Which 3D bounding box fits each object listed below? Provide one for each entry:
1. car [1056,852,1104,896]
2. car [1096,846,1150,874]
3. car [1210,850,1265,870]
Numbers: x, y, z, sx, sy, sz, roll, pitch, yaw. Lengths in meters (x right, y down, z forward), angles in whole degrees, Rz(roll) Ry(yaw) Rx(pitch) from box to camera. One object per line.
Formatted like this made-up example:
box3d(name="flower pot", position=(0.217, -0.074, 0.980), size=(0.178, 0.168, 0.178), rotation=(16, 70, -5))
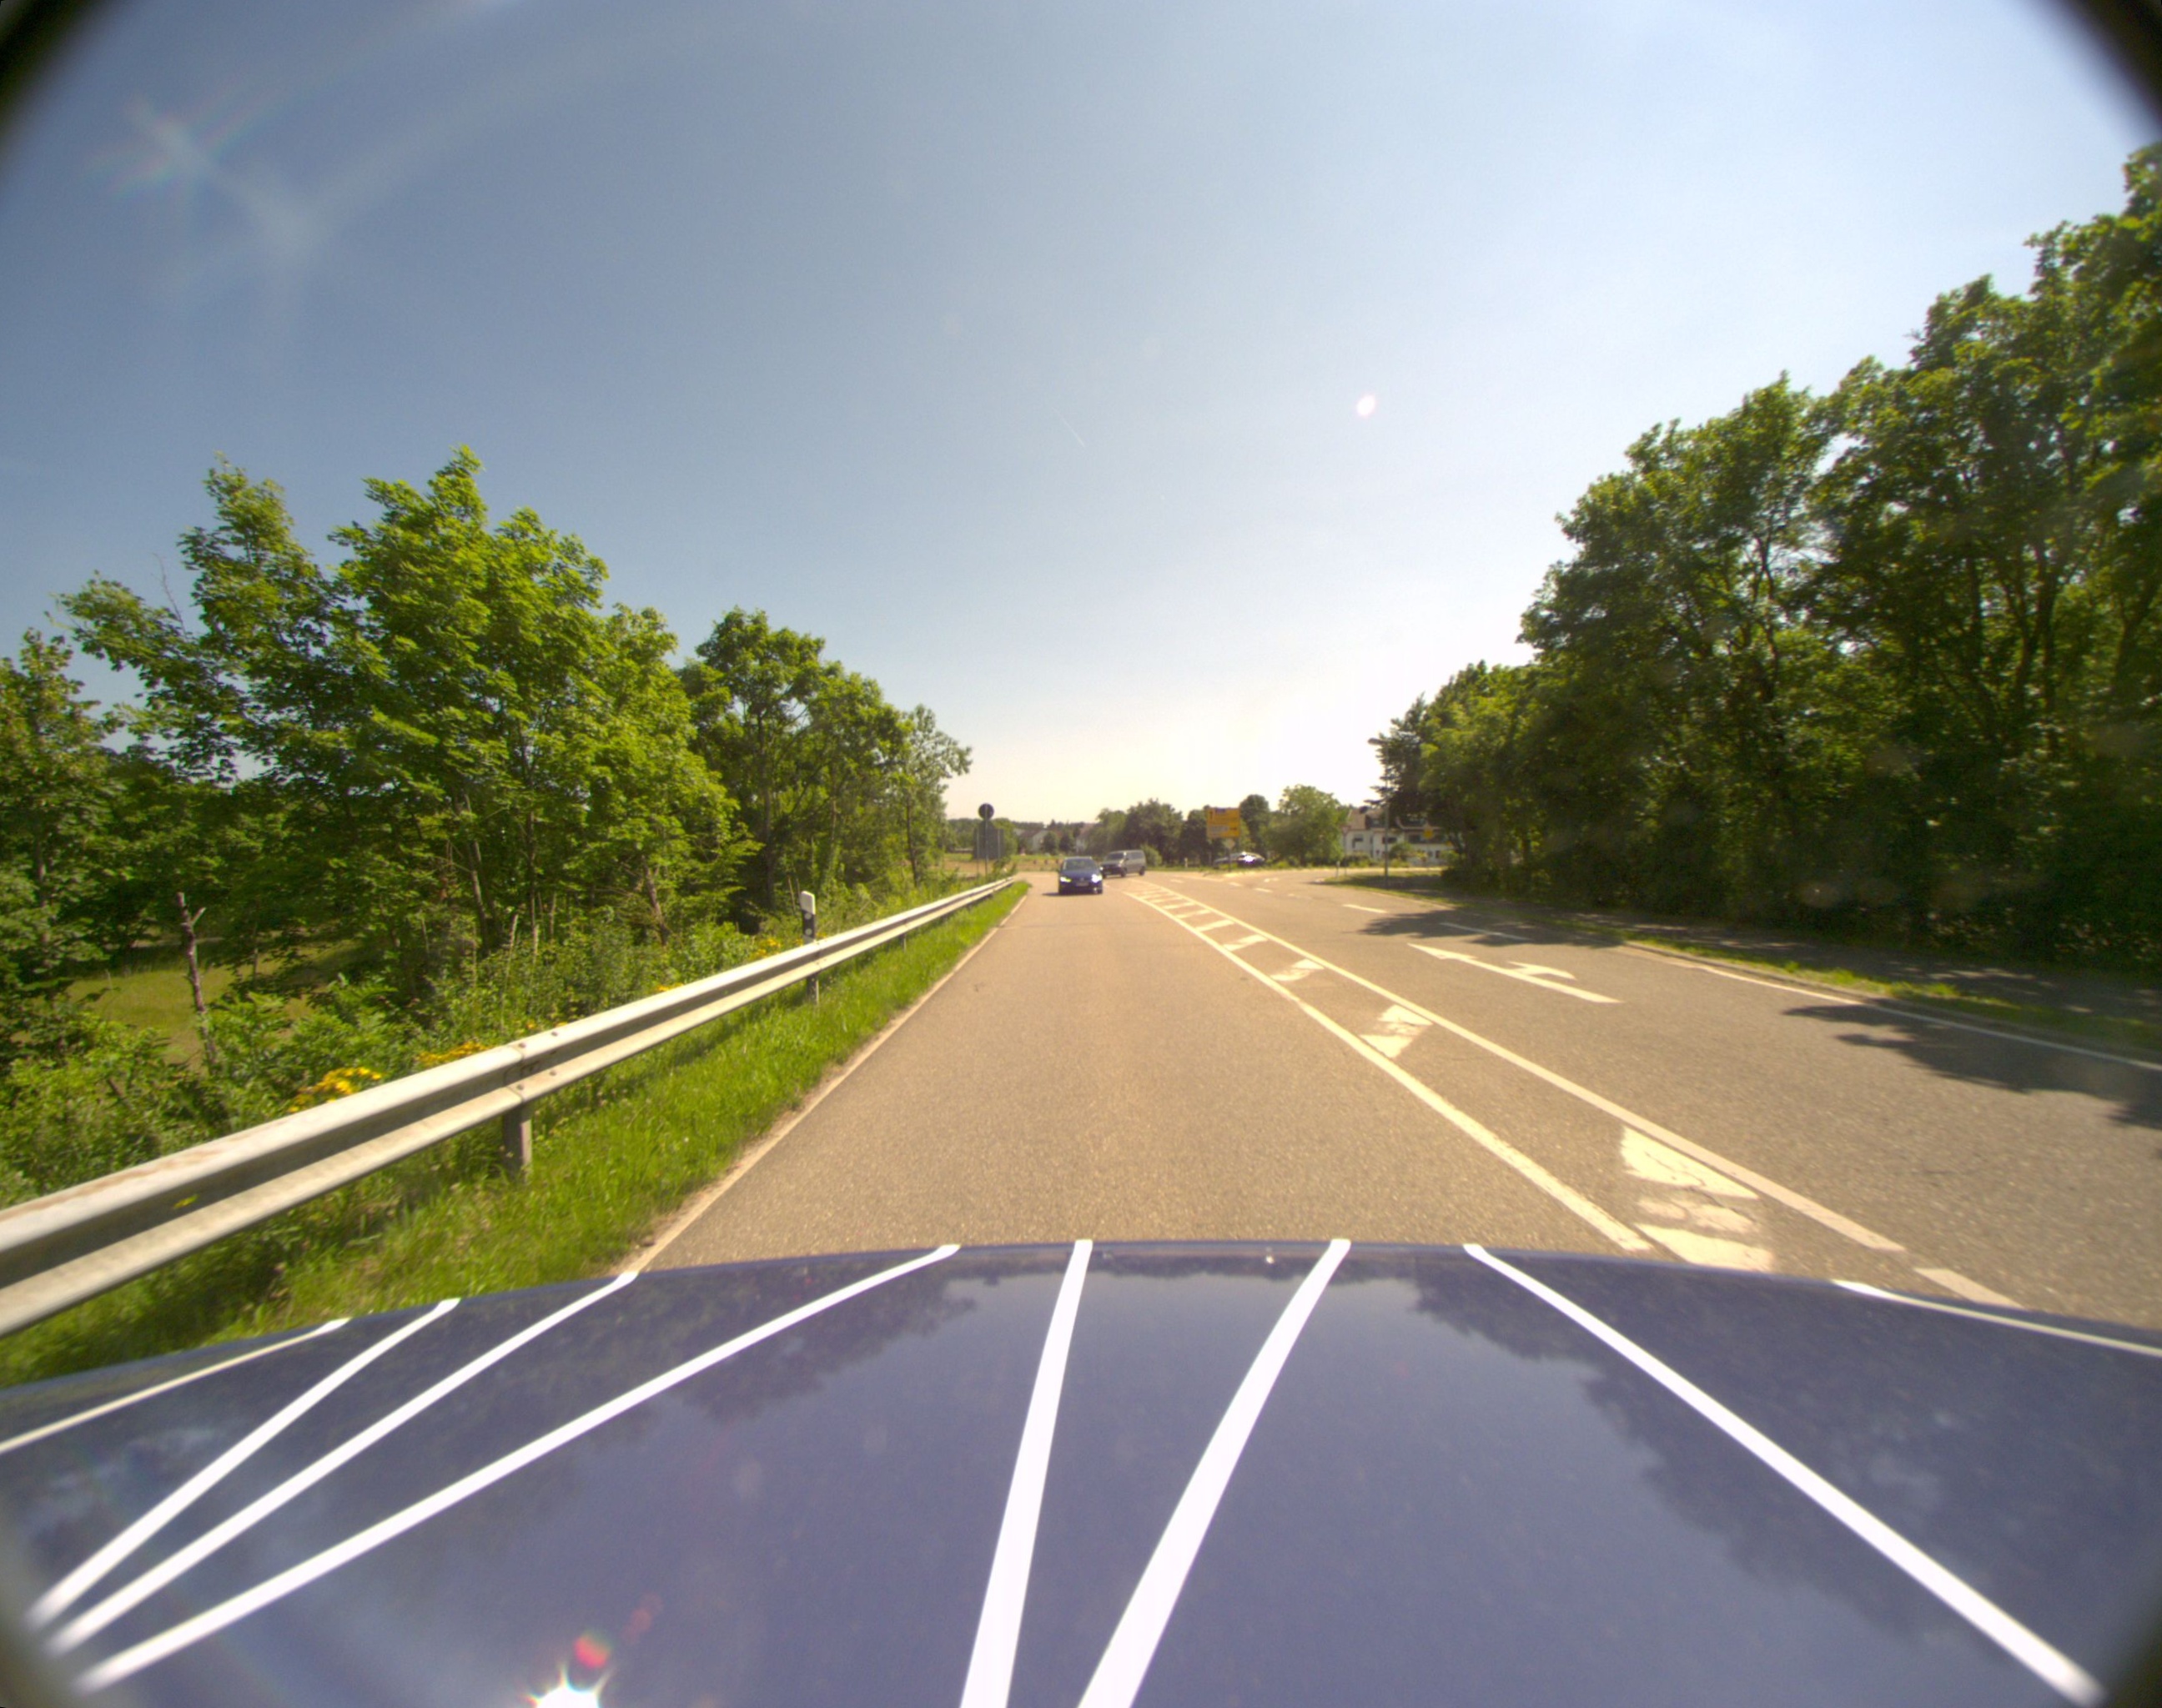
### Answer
box3d(name="car", position=(0.000, 0.796, 32.426), size=(1.828, 1.592, 4.195), rotation=(-4, 1, 1))
box3d(name="car", position=(3.260, 0.437, 57.688), size=(1.995, 2.002, 4.775), rotation=(-1, 0, 32))
box3d(name="car", position=(13.556, 0.531, 65.691), size=(4.380, 1.636, 1.746), rotation=(-1, 0, -20))
